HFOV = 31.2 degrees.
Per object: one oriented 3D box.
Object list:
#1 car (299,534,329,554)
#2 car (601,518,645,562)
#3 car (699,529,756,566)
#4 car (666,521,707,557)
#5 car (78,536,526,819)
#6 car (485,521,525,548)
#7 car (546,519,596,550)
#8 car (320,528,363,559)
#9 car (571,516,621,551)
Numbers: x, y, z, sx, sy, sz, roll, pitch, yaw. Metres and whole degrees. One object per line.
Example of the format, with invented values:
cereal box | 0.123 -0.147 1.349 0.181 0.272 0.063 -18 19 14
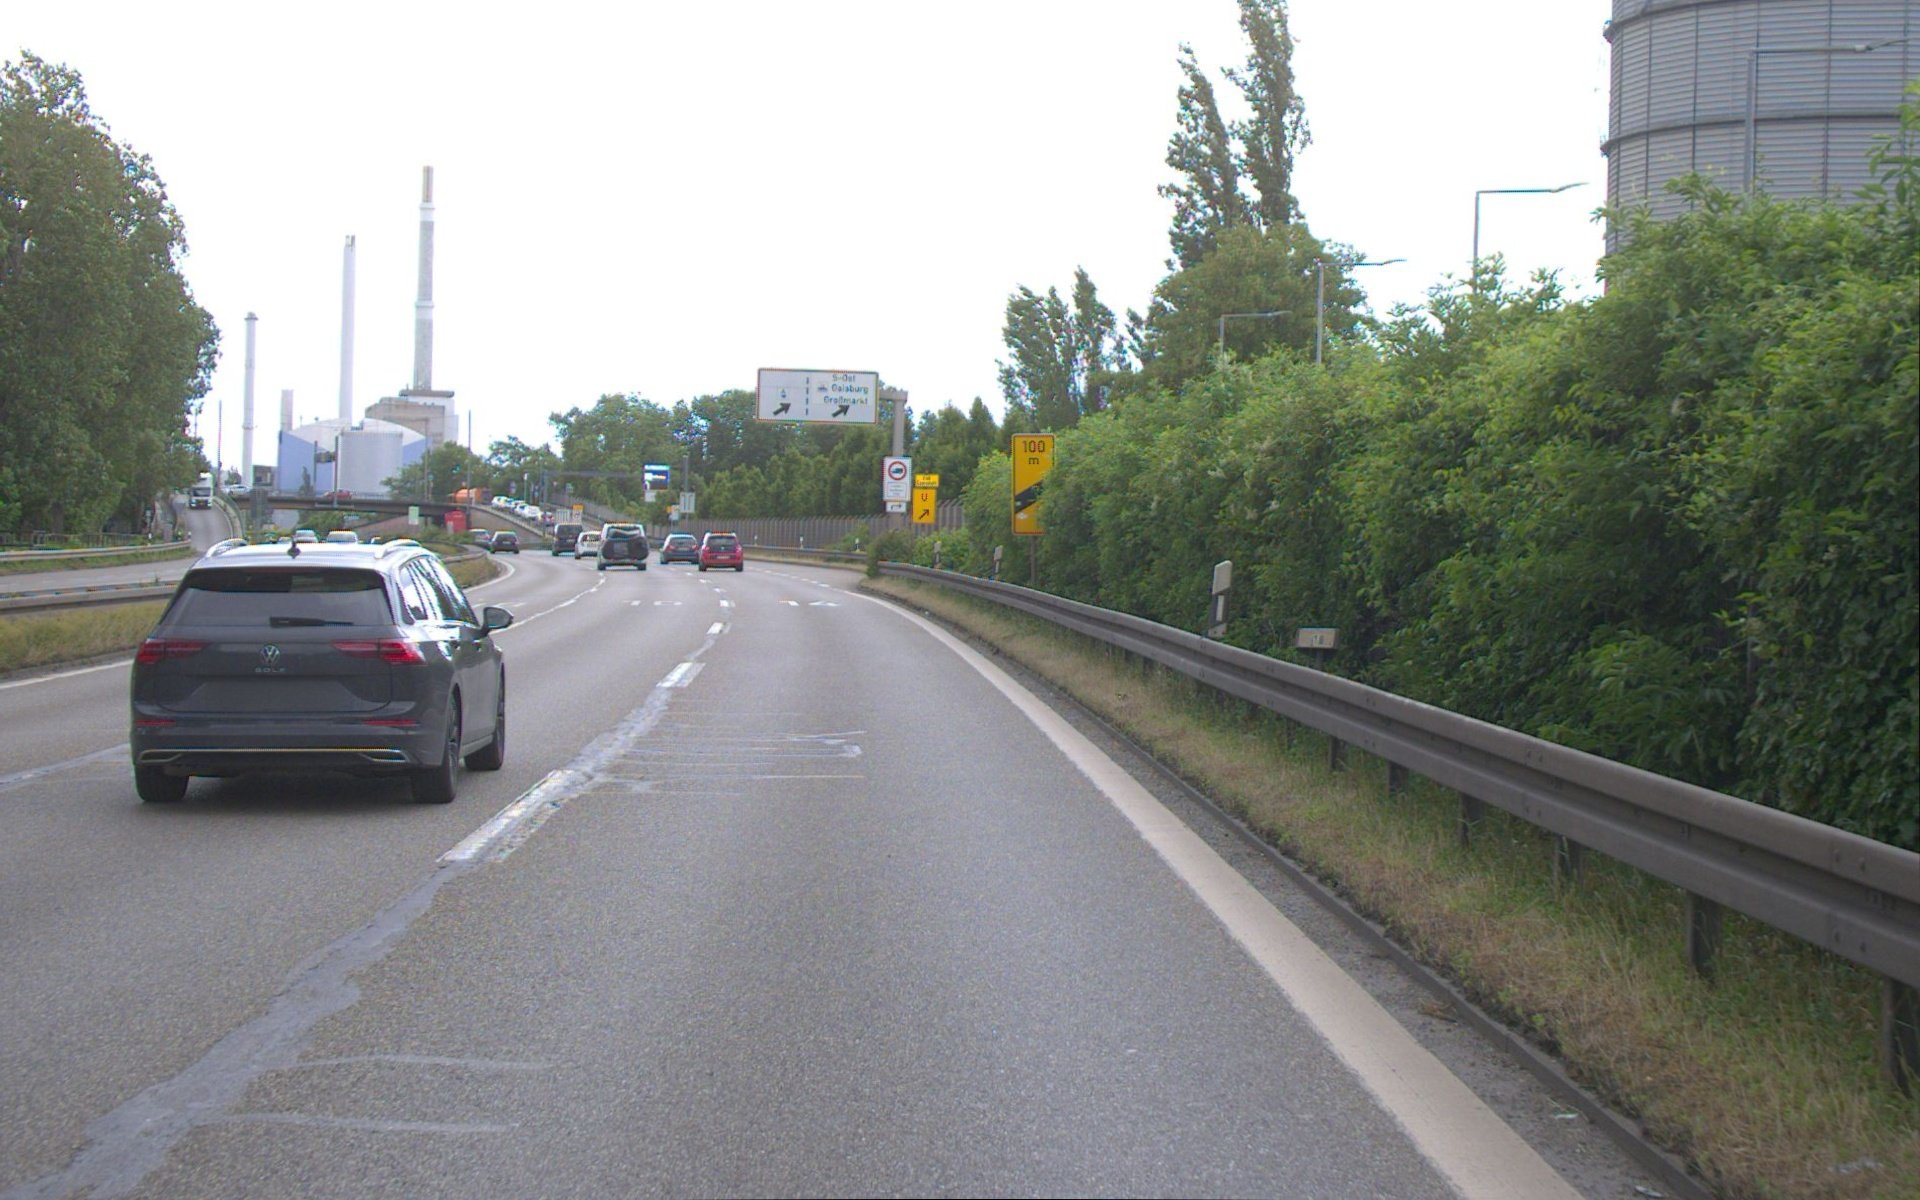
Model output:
car | -47.583 -4.133 253.247 1.697 1.408 4.639 0 1 -17
car | -13.540 -2.401 138.169 1.697 1.736 4.001 0 1 -5
car | -9.329 -2.103 137.774 1.974 1.418 4.902 1 1 -7
car | -13.219 -2.950 165.868 1.697 1.736 4.394 0 1 -8
car | -3.732 0.359 20.351 1.845 1.418 4.901 2 1 -2
car | -29.650 -4.293 223.919 1.697 1.736 4.394 0 1 -20
car | -23.991 -4.036 211.835 2.013 1.927 4.902 0 1 -19
car | -28.701 -2.622 159.647 1.614 1.381 3.733 1 1 -5
car | -20.498 -3.750 193.484 2.013 1.927 4.902 0 1 -15
